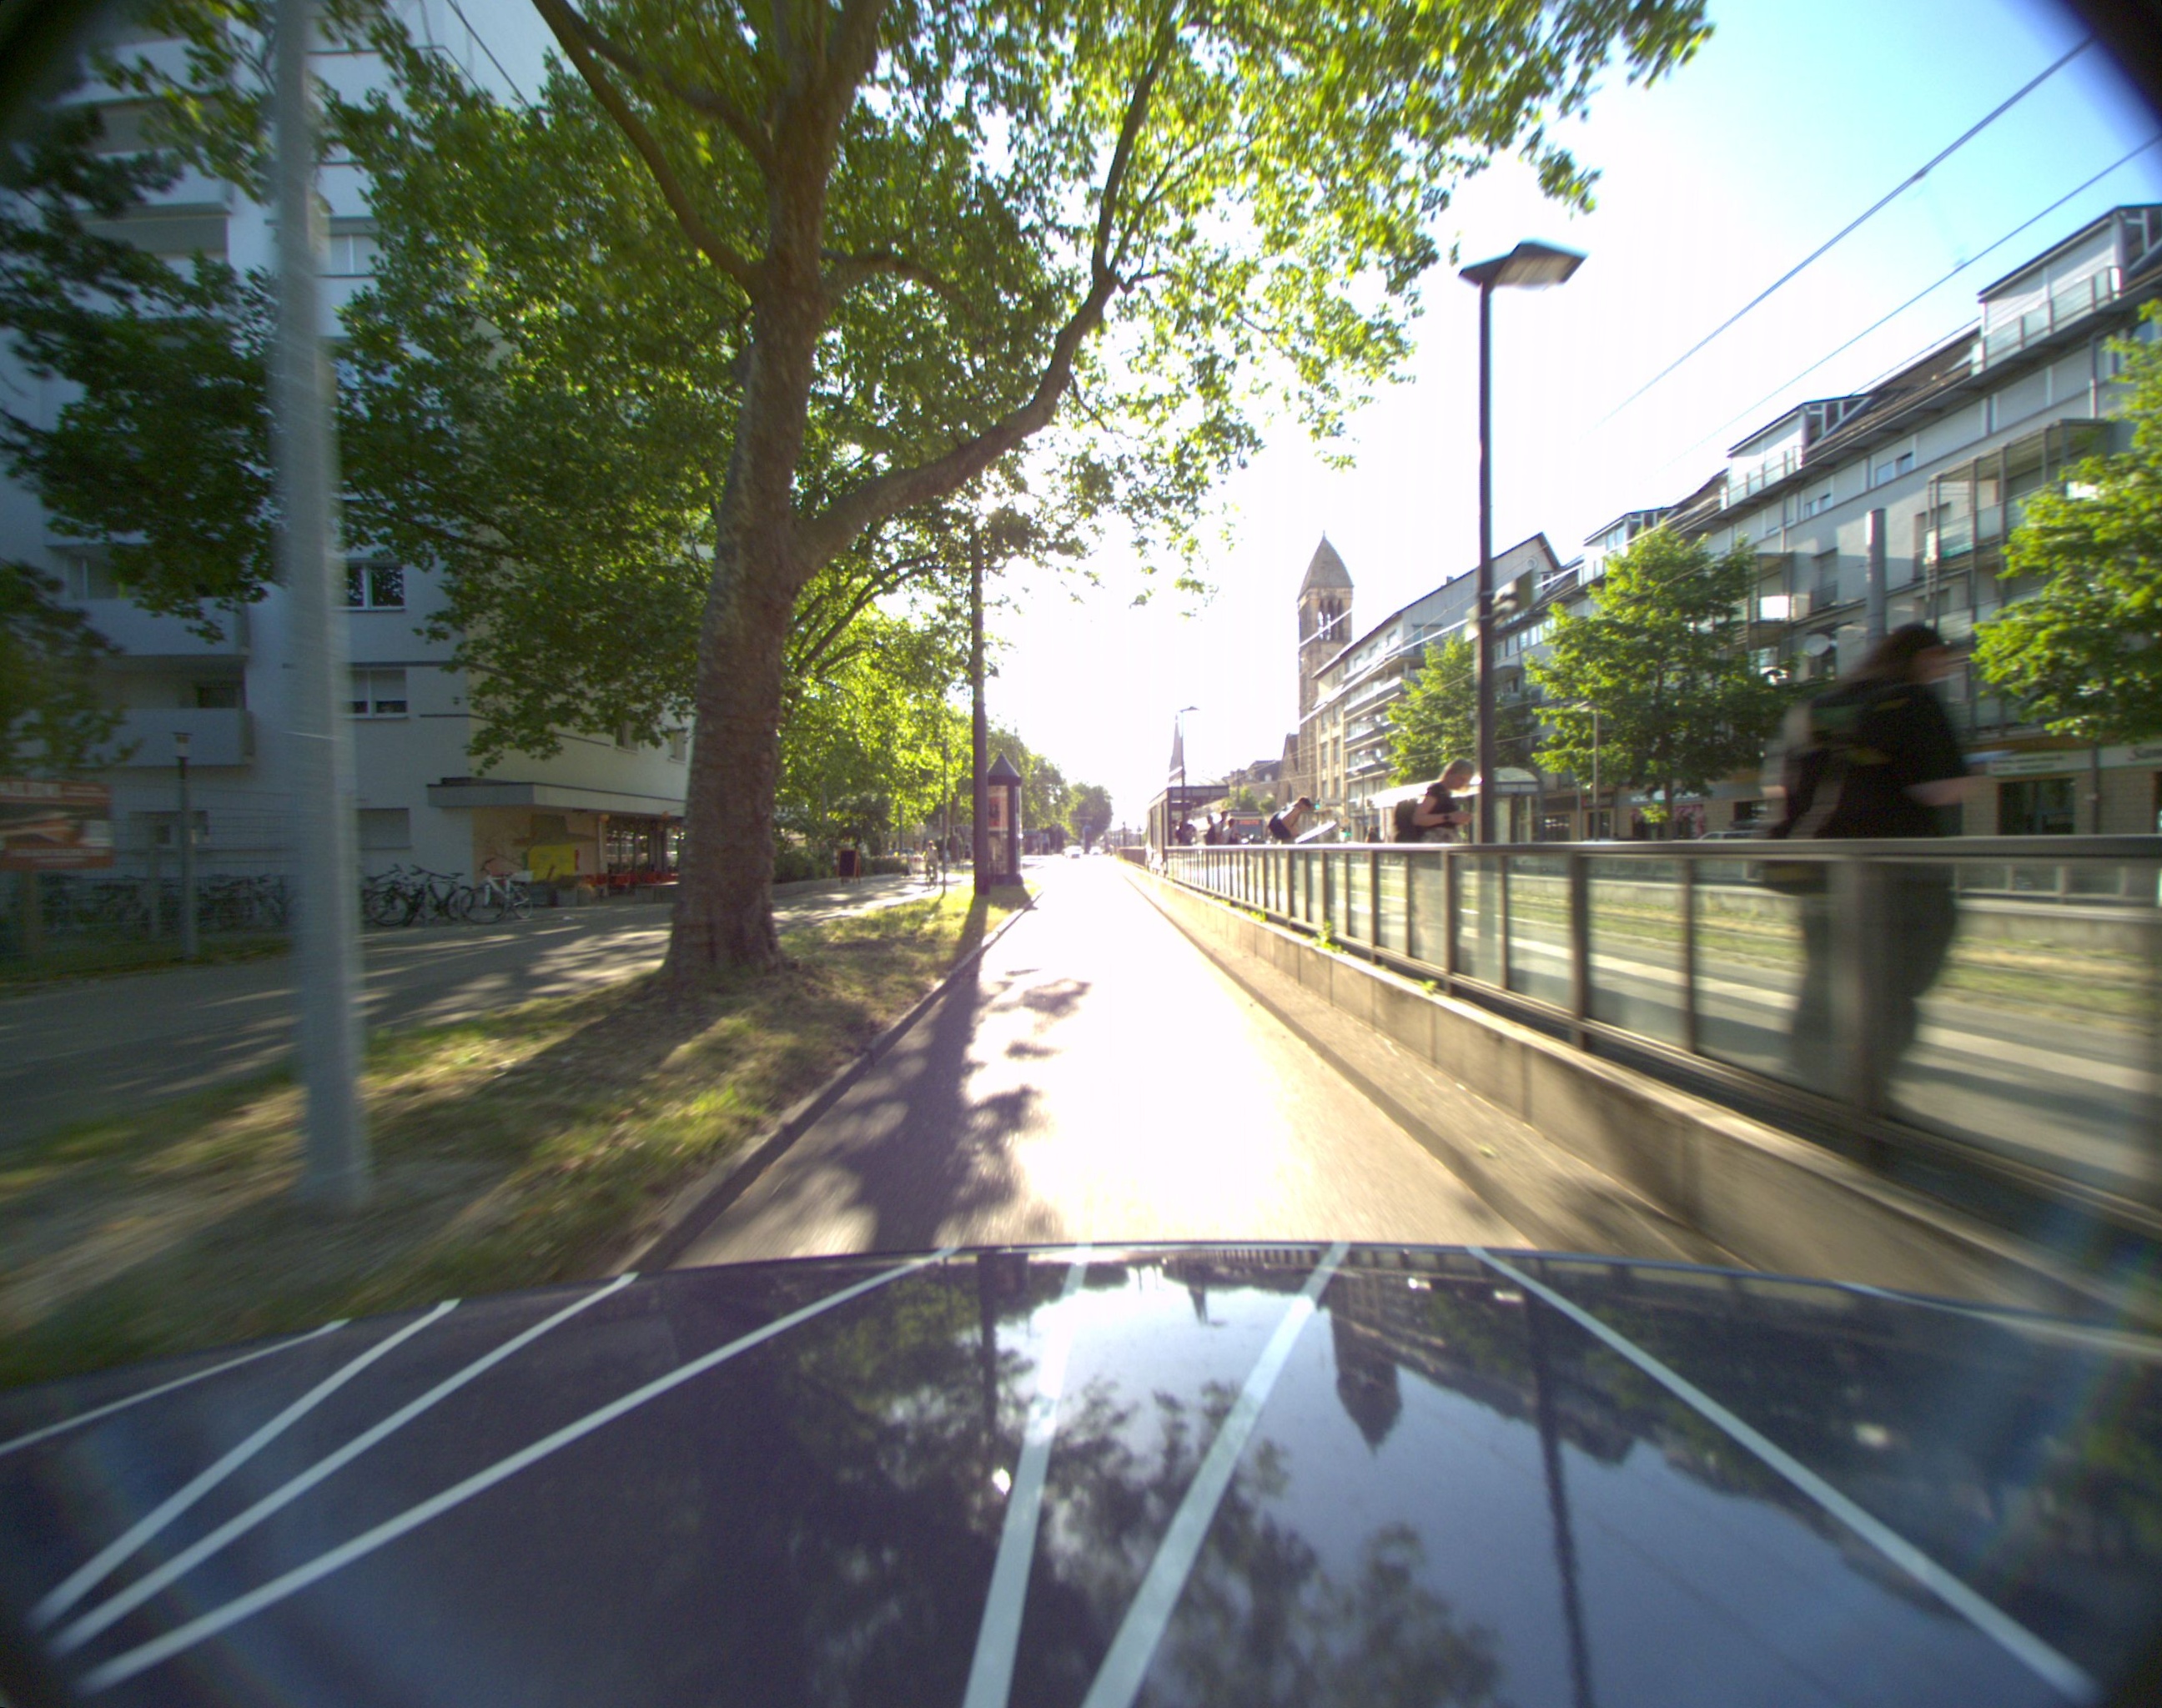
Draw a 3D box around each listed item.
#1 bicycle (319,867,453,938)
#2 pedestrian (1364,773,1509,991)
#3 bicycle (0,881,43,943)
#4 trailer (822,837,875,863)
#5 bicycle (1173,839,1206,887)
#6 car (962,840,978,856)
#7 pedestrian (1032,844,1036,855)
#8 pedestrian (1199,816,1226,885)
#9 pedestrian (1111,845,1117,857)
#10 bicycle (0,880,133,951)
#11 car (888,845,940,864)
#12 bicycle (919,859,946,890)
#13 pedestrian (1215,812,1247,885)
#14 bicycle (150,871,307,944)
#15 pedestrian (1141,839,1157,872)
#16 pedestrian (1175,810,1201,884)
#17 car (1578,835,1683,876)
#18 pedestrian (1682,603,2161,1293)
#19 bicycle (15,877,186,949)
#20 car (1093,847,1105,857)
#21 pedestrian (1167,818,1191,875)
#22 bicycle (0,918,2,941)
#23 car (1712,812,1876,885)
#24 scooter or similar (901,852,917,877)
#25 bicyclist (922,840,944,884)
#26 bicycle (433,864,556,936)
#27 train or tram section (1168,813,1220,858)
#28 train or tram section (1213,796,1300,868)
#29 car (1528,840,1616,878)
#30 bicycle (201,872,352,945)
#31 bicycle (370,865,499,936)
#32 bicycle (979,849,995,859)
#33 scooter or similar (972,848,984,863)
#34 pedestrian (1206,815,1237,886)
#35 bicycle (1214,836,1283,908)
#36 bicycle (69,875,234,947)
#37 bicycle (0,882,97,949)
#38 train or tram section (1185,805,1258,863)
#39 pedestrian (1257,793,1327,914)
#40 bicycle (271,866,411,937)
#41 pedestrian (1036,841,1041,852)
[{"bbox_3d":[-13.132,0.878,14.450,0.791,1.171,1.820,-3,1,1],"label":"bicycle"},{"bbox_3d":[2.743,0.199,5.949,0.680,1.553,0.851,-3,1,0],"label":"pedestrian"},{"bbox_3d":[-21.570,1.172,14.551,0.791,1.171,1.820,-3,1,1],"label":"bicycle"},{"bbox_3d":[-21.798,-0.374,71.249,4.520,2.359,1.910,-2,1,-21],"label":"trailer"},{"bbox_3d":[2.736,0.194,19.350,0.514,1.127,2.103,-3,1,1],"label":"bicycle"},{"bbox_3d":[-20.211,-1.172,138.416,1.998,2.726,4.714,-3,1,2],"label":"car"},{"bbox_3d":[-8.078,-0.766,131.282,0.631,1.833,0.540,-3,1,-1],"label":"pedestrian"},{"bbox_3d":[3.530,-0.093,20.454,0.600,1.790,0.824,-3,1,6],"label":"pedestrian"},{"bbox_3d":[4.616,-0.442,105.799,0.679,1.612,0.925,-3,1,-1],"label":"pedestrian"},{"bbox_3d":[-19.636,1.144,14.460,0.791,1.171,1.820,-3,1,1],"label":"bicycle"},{"bbox_3d":[-16.167,0.040,73.451,4.584,1.630,1.932,-3,1,-21],"label":"car"},{"bbox_3d":[-5.324,0.731,27.300,0.604,1.020,1.766,-1,1,0],"label":"bicycle"},{"bbox_3d":[3.574,-0.133,18.136,0.507,1.698,0.729,-3,1,-2],"label":"pedestrian"},{"bbox_3d":[-15.928,0.967,14.279,0.791,1.171,1.820,-3,1,1],"label":"bicycle"},{"bbox_3d":[3.347,0.068,37.399,0.631,1.600,0.982,-3,1,-1],"label":"pedestrian"},{"bbox_3d":[2.964,-0.203,21.052,0.600,1.985,0.824,-3,1,6],"label":"pedestrian"},{"bbox_3d":[23.872,0.032,33.163,1.811,1.626,3.784,-3,1,0],"label":"car"},{"bbox_3d":[2.501,0.244,2.298,0.766,1.749,0.695,-3,1,0],"label":"pedestrian"},{"bbox_3d":[-18.602,1.090,14.497,0.791,1.171,1.820,-3,1,1],"label":"bicycle"},{"bbox_3d":[2.711,-0.324,115.550,1.636,1.491,3.999,-2,1,1],"label":"car"},{"bbox_3d":[3.323,-0.249,25.904,0.671,1.891,0.824,-3,1,4],"label":"pedestrian"},{"bbox_3d":[-22.453,1.218,14.582,0.791,1.171,1.820,-3,1,1],"label":"bicycle"},{"bbox_3d":[23.735,-0.197,25.506,1.945,2.154,3.784,-3,1,0],"label":"car"},{"bbox_3d":[-8.971,0.550,39.618,0.562,1.250,1.289,0,2,-3],"label":"scooter or similar"},{"bbox_3d":[-5.331,0.273,27.377,0.604,1.542,0.860,-1,1,0],"label":"bicyclist"},{"bbox_3d":[-10.906,0.816,14.228,0.791,1.171,1.820,-3,1,1],"label":"bicycle"},{"bbox_3d":[10.183,-1.673,70.247,2.877,3.654,14.558,-1,1,1],"label":"train or tram section"},{"bbox_3d":[9.781,-1.203,43.616,2.877,3.664,9.682,-1,1,1],"label":"train or tram section"},{"bbox_3d":[23.877,0.205,37.085,1.811,1.667,3.784,-3,1,0],"label":"car"},{"bbox_3d":[-14.975,0.977,14.227,0.791,1.171,1.820,-3,1,1],"label":"bicycle"},{"bbox_3d":[-12.181,0.832,14.399,0.791,1.171,1.820,-3,1,1],"label":"bicycle"},{"bbox_3d":[-11.419,-0.013,92.286,1.827,1.047,0.534,-2,1,-26],"label":"bicycle"},{"bbox_3d":[-8.393,0.111,61.897,0.561,1.250,1.290,0,2,9],"label":"scooter or similar"},{"bbox_3d":[3.482,-0.082,18.849,0.550,1.698,0.599,-3,1,-2],"label":"pedestrian"},{"bbox_3d":[2.896,0.277,13.375,0.739,1.127,2.030,-3,1,1],"label":"bicycle"},{"bbox_3d":[-17.601,1.039,14.469,0.791,1.171,1.820,-3,1,1],"label":"bicycle"},{"bbox_3d":[-20.470,1.186,14.552,0.791,1.171,1.820,-3,1,1],"label":"bicycle"},{"bbox_3d":[9.957,-1.414,55.721,2.877,3.664,14.558,-1,1,1],"label":"train or tram section"},{"bbox_3d":[3.235,-0.008,11.719,0.787,1.761,0.773,-3,1,1],"label":"pedestrian"},{"bbox_3d":[-14.020,0.865,14.475,0.791,1.171,1.820,-3,1,1],"label":"bicycle"},{"bbox_3d":[-7.331,-1.341,131.250,0.631,1.833,0.540,-3,1,-1],"label":"pedestrian"}]
